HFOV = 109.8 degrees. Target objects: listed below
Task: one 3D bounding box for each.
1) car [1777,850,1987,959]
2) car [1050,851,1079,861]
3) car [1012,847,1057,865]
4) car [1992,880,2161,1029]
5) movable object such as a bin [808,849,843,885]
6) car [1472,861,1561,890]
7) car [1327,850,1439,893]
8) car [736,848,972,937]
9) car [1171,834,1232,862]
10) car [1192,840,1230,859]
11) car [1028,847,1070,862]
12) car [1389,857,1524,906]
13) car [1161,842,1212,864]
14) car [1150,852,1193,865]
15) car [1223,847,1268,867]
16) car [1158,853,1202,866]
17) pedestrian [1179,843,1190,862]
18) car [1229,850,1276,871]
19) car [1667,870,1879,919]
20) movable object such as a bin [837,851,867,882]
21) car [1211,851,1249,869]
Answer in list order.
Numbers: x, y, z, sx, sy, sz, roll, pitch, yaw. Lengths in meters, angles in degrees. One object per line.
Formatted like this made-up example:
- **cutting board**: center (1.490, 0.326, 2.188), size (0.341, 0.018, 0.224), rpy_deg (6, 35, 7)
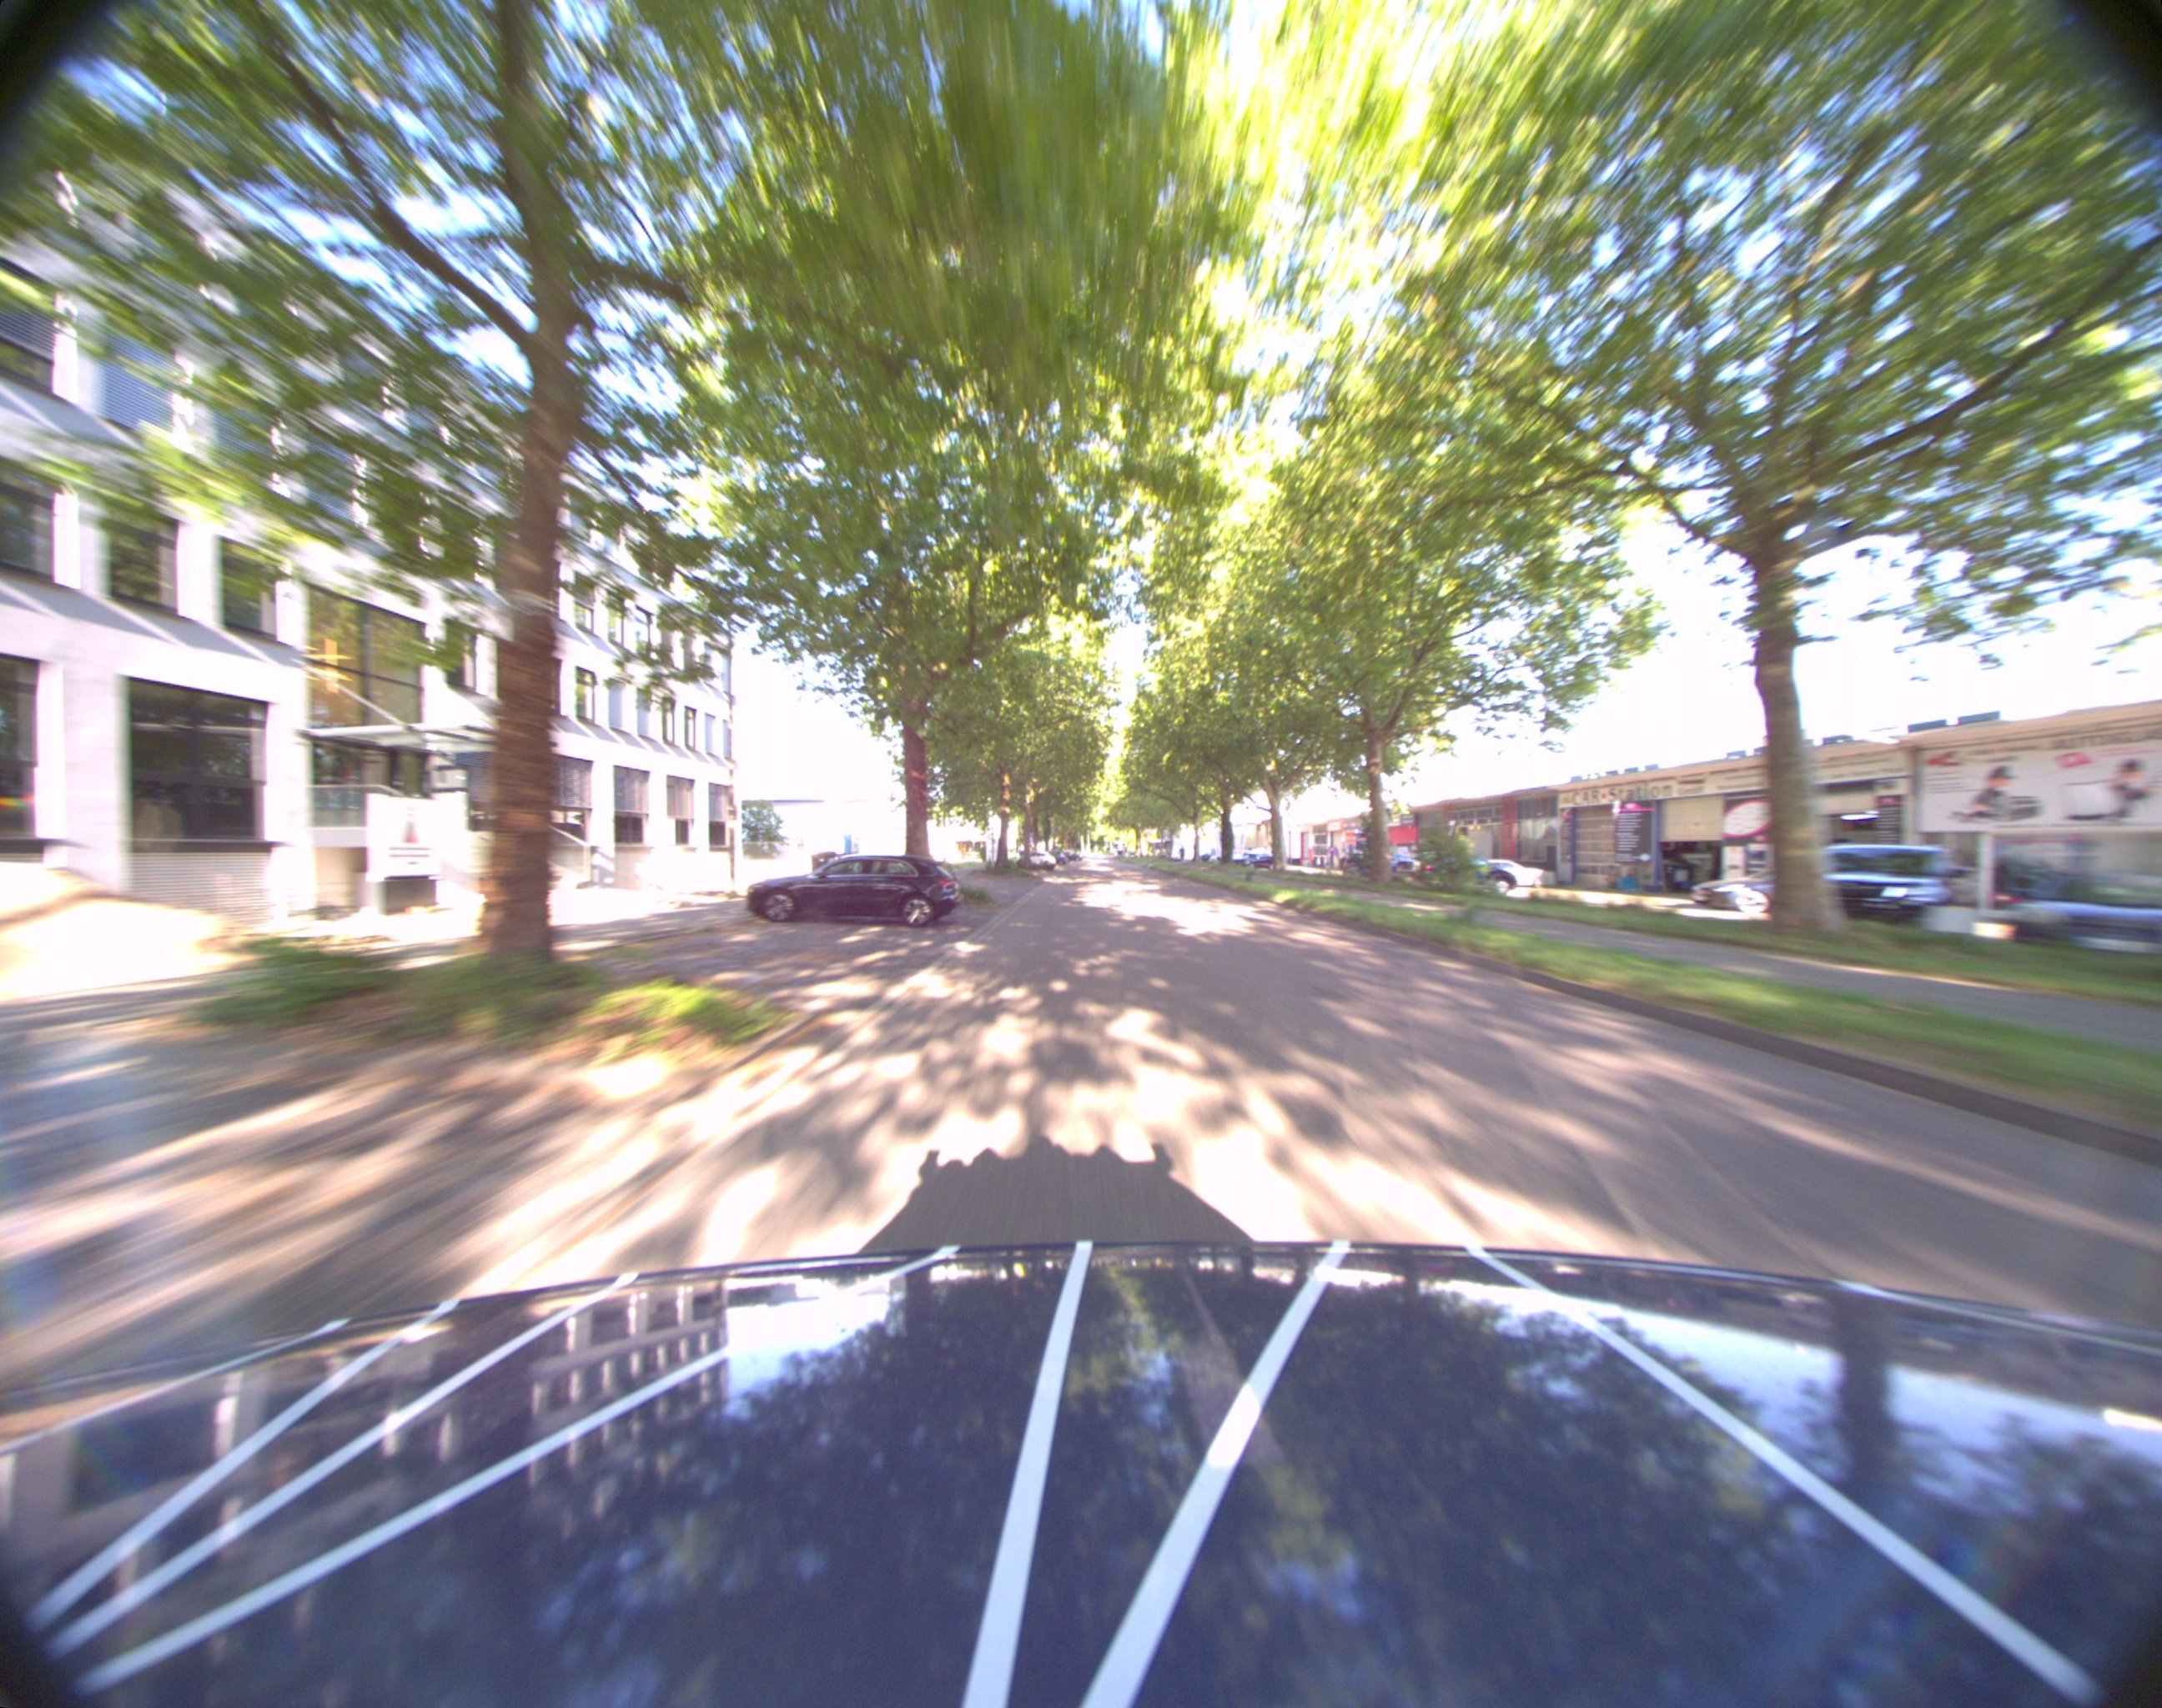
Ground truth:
- **car**: center (13.664, 0.723, 12.892), size (4.270, 1.444, 1.995), rpy_deg (-2, 1, -37)
- **car**: center (-2.592, 0.309, 118.267), size (4.296, 1.410, 2.000), rpy_deg (2, 1, 4)
- **car**: center (-4.196, 0.150, 68.653), size (3.944, 1.504, 1.666), rpy_deg (2, 1, 0)
- **car**: center (13.343, 1.152, 9.705), size (4.270, 1.374, 1.995), rpy_deg (-2, 1, -37)
- **movable object such as a bin**: center (-9.937, 0.492, 29.562), size (0.749, 1.343, 1.620), rpy_deg (-2, 1, 1)
- **car**: center (22.972, 1.128, 40.258), size (3.989, 1.434, 2.003), rpy_deg (-1, 1, 28)
- **car**: center (14.240, 0.784, 35.837), size (4.905, 1.750, 1.996), rpy_deg (-2, 1, -23)
- **car**: center (-4.569, 0.742, 15.791), size (4.295, 1.477, 1.860), rpy_deg (4, 1, -1)
- **car**: center (14.370, -0.685, 90.453), size (6.972, 2.835, 2.596), rpy_deg (4, -1, -27)
- **car**: center (13.221, -0.501, 77.130), size (1.994, 1.829, 4.257), rpy_deg (-1, 1, 38)
- **car**: center (-3.459, 0.079, 82.187), size (4.405, 1.410, 1.999), rpy_deg (2, 1, -4)
- **car**: center (13.616, 0.928, 27.557), size (4.355, 1.521, 1.996), rpy_deg (-2, 1, -23)
- **car**: center (14.058, -0.138, 101.559), size (6.338, 2.482, 2.595), rpy_deg (4, -2, -28)
- **car**: center (14.612, 0.727, 122.727), size (6.376, 1.669, 2.722), rpy_deg (3, -2, -17)
- **car**: center (15.314, 0.256, 70.665), size (4.321, 1.741, 1.994), rpy_deg (-2, 1, -43)
- **car**: center (15.618, 0.873, 119.927), size (6.429, 1.669, 2.722), rpy_deg (3, -2, -17)
- **pedestrian**: center (9.538, -0.135, 70.033), size (0.805, 1.763, 0.940), rpy_deg (-2, 1, 3)
- **car**: center (14.160, 0.557, 62.662), size (3.850, 1.566, 1.994), rpy_deg (-2, 1, -45)
- **car**: center (21.302, 1.249, 23.606), size (4.467, 1.313, 2.001), rpy_deg (-1, 1, 11)
- **movable object such as a bin**: center (-9.727, 0.513, 32.305), size (0.749, 1.256, 1.611), rpy_deg (-2, 1, 1)
- **car**: center (14.324, 0.580, 72.928), size (1.994, 1.561, 4.059), rpy_deg (-1, 1, 38)
